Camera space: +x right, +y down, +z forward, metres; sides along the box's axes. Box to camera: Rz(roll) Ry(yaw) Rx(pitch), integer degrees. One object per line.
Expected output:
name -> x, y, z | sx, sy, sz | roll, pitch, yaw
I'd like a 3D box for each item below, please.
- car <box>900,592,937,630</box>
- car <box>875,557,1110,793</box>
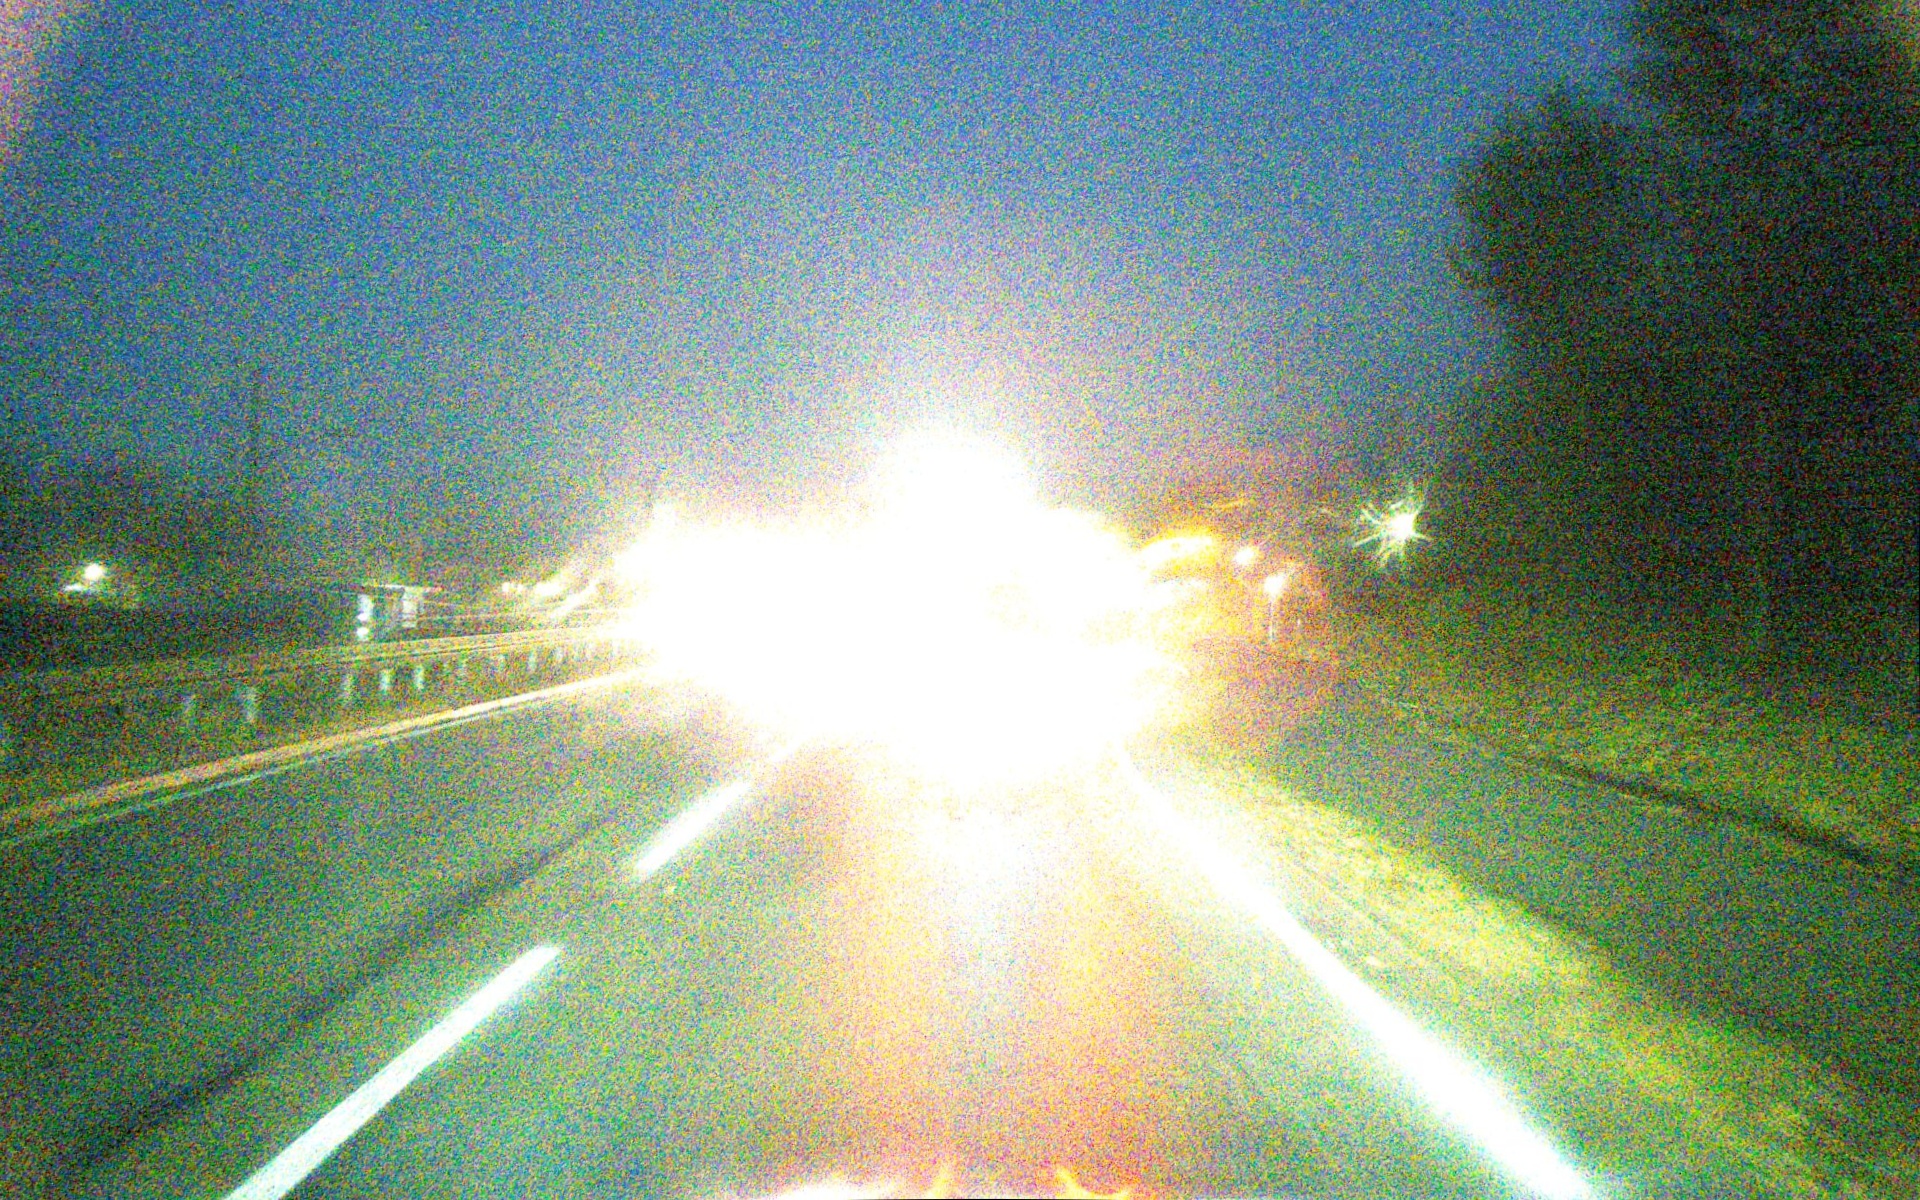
car -> -2.436, 0.663, 96.348 | 1.954, 2.049, 3.996 | 0, -2, -4
car -> 0.230, 0.574, 14.406 | 1.739, 1.742, 3.999 | 1, 0, -1
